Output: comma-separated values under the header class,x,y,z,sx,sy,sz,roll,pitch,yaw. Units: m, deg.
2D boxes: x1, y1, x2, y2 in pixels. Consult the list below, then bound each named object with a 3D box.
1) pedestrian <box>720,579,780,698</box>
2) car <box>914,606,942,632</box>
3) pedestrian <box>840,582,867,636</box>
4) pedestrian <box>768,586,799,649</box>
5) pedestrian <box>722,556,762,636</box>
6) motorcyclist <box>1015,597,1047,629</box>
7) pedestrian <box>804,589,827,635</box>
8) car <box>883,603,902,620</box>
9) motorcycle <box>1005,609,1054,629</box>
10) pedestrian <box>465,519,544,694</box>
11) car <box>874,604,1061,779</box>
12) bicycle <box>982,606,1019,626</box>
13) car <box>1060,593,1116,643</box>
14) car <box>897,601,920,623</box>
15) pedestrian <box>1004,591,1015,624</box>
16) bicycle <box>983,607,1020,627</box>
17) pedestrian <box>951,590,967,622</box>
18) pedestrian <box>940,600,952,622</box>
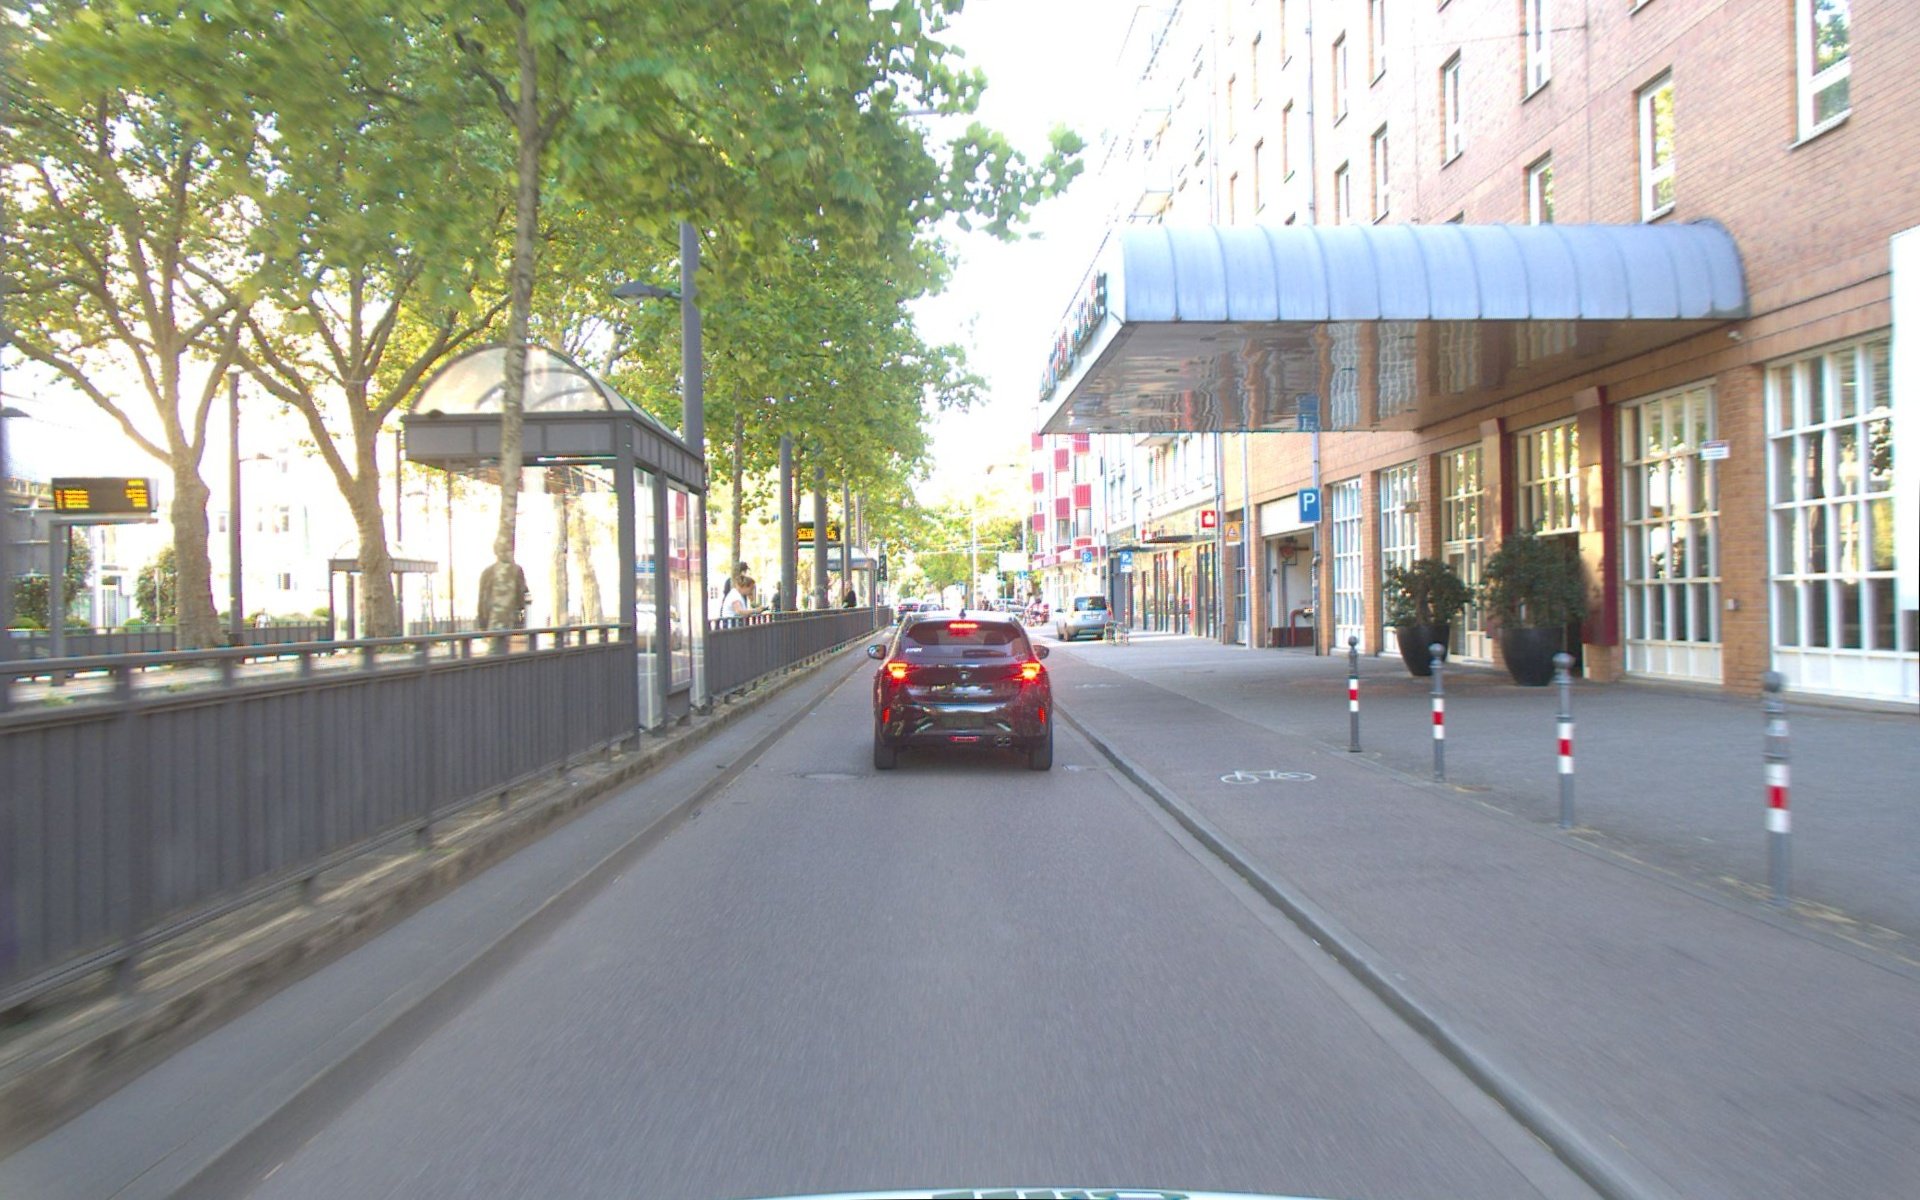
class,x,y,z,sx,sy,sz,roll,pitch,yaw
pedestrian,-2.662,0.479,20.993,0.708,1.470,0.626,-1,0,-5
car,-1.938,1.114,99.217,1.581,1.528,3.689,-1,0,-2
pedestrian,-2.970,0.254,46.167,0.708,1.470,0.626,-1,0,-5
pedestrian,-3.957,0.393,37.068,0.592,1.389,0.486,-3,-1,-1
pedestrian,-3.851,-0.068,29.246,0.592,1.389,0.486,-3,-1,-1
motorcyclist,3.924,0.732,91.806,1.291,1.728,1.224,-1,0,-31
pedestrian,-4.470,0.372,51.140,0.592,1.389,0.486,-3,-1,-1
car,-6.020,1.032,148.000,1.581,1.528,3.689,-1,0,-2
motorcycle,3.845,1.047,91.930,1.291,1.077,3.065,-1,0,-30
pedestrian,-4.592,0.068,16.698,0.592,1.709,0.486,-3,-1,-1
car,0.080,0.815,16.518,1.637,1.528,3.690,-1,0,0
bicycle,2.571,1.020,105.026,2.307,1.255,0.684,-1,0,1
car,4.460,0.611,57.953,1.638,1.681,3.690,-1,0,0
car,-3.626,0.824,116.973,1.581,1.528,3.689,-1,0,-2
pedestrian,4.514,0.664,149.799,0.898,2.922,1.150,-1,0,-2
bicycle,2.601,1.058,103.334,2.307,1.255,0.684,-1,0,1
pedestrian,-0.136,0.577,157.271,1.137,2.922,0.909,-1,-1,-34
pedestrian,-1.148,0.889,135.343,0.898,1.807,1.150,-1,0,-3
